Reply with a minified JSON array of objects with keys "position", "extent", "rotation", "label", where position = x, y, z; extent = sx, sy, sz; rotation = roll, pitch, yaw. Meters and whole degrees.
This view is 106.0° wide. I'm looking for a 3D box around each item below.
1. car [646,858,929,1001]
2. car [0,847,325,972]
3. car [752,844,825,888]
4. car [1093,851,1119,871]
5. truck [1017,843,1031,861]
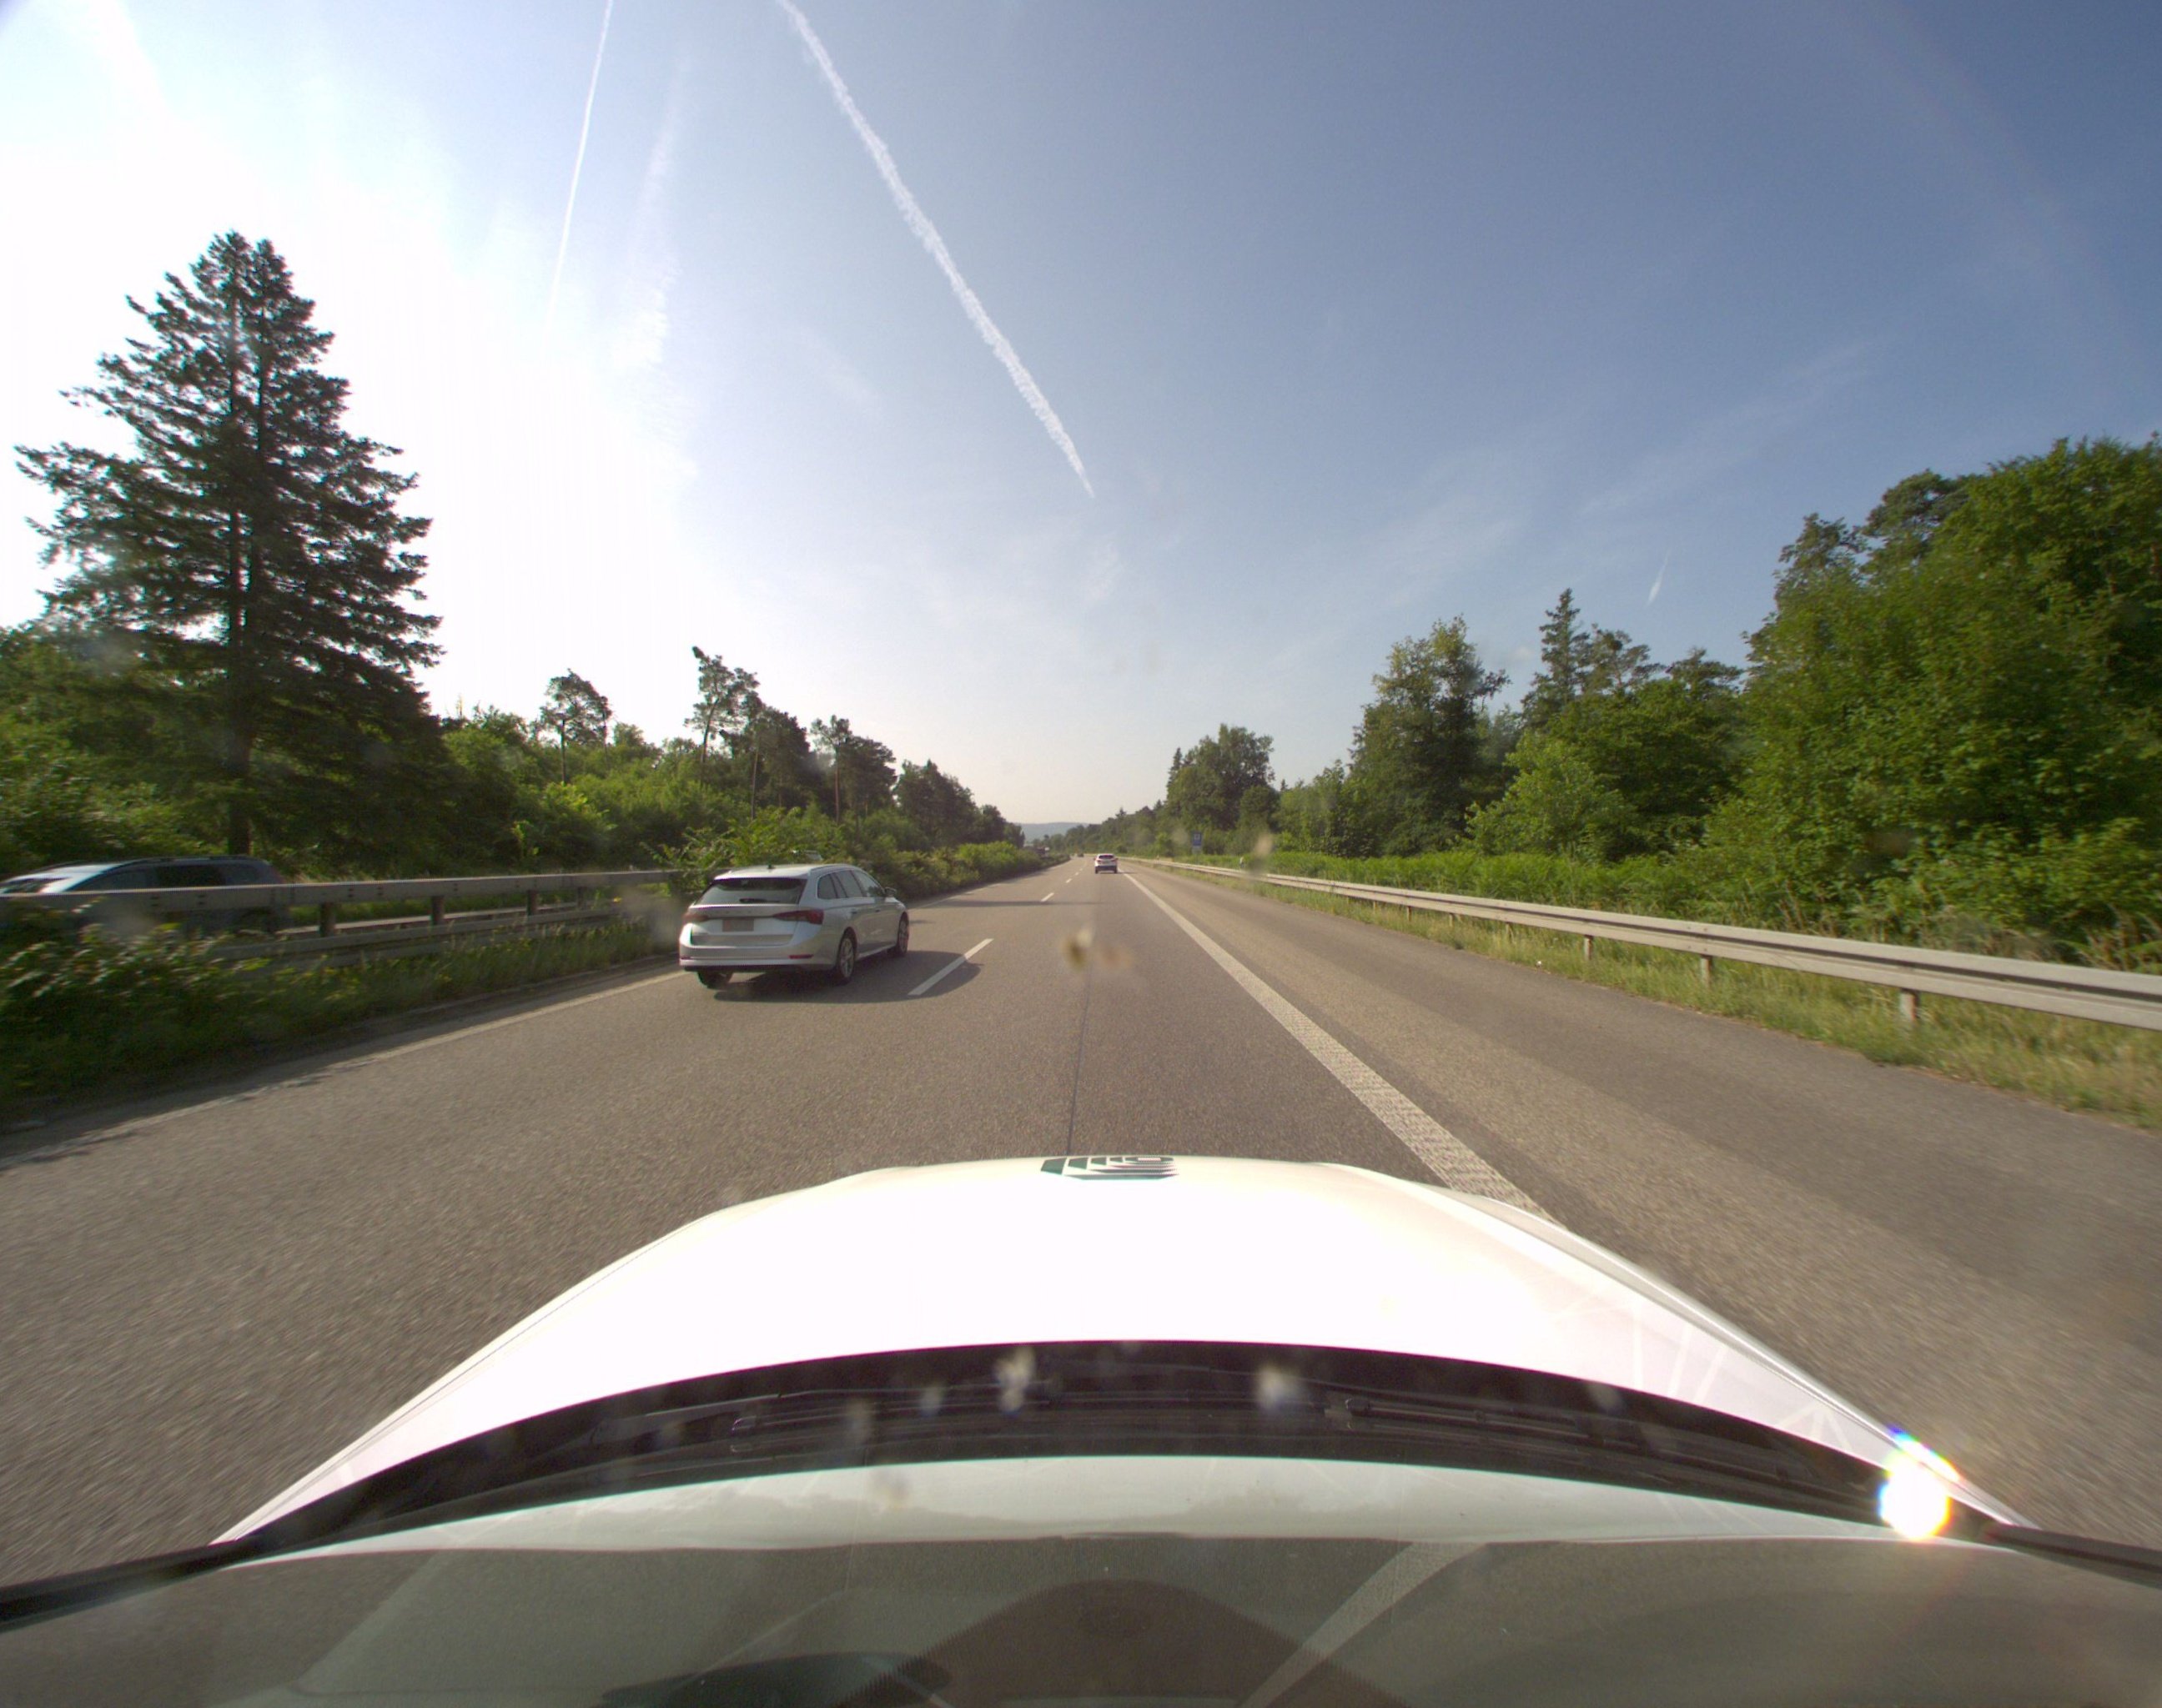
[{"position":[-3.637,0.818,11.343],"extent":[1.785,1.438,5.281],"rotation":[-2,0,2],"label":"car"},{"position":[-15.151,0.767,13.126],"extent":[1.808,1.682,4.302],"rotation":[-1,-1,2],"label":"car"},{"position":[-14.275,0.563,40.030],"extent":[1.808,2.014,4.496],"rotation":[0,-1,2],"label":"car"},{"position":[2.007,0.538,66.060],"extent":[1.869,1.586,3.997],"rotation":[1,0,-2],"label":"car"},{"position":[-13.520,-0.455,193.147],"extent":[2.700,4.200,6.294],"rotation":[-2,0,1],"label":"truck"}]
